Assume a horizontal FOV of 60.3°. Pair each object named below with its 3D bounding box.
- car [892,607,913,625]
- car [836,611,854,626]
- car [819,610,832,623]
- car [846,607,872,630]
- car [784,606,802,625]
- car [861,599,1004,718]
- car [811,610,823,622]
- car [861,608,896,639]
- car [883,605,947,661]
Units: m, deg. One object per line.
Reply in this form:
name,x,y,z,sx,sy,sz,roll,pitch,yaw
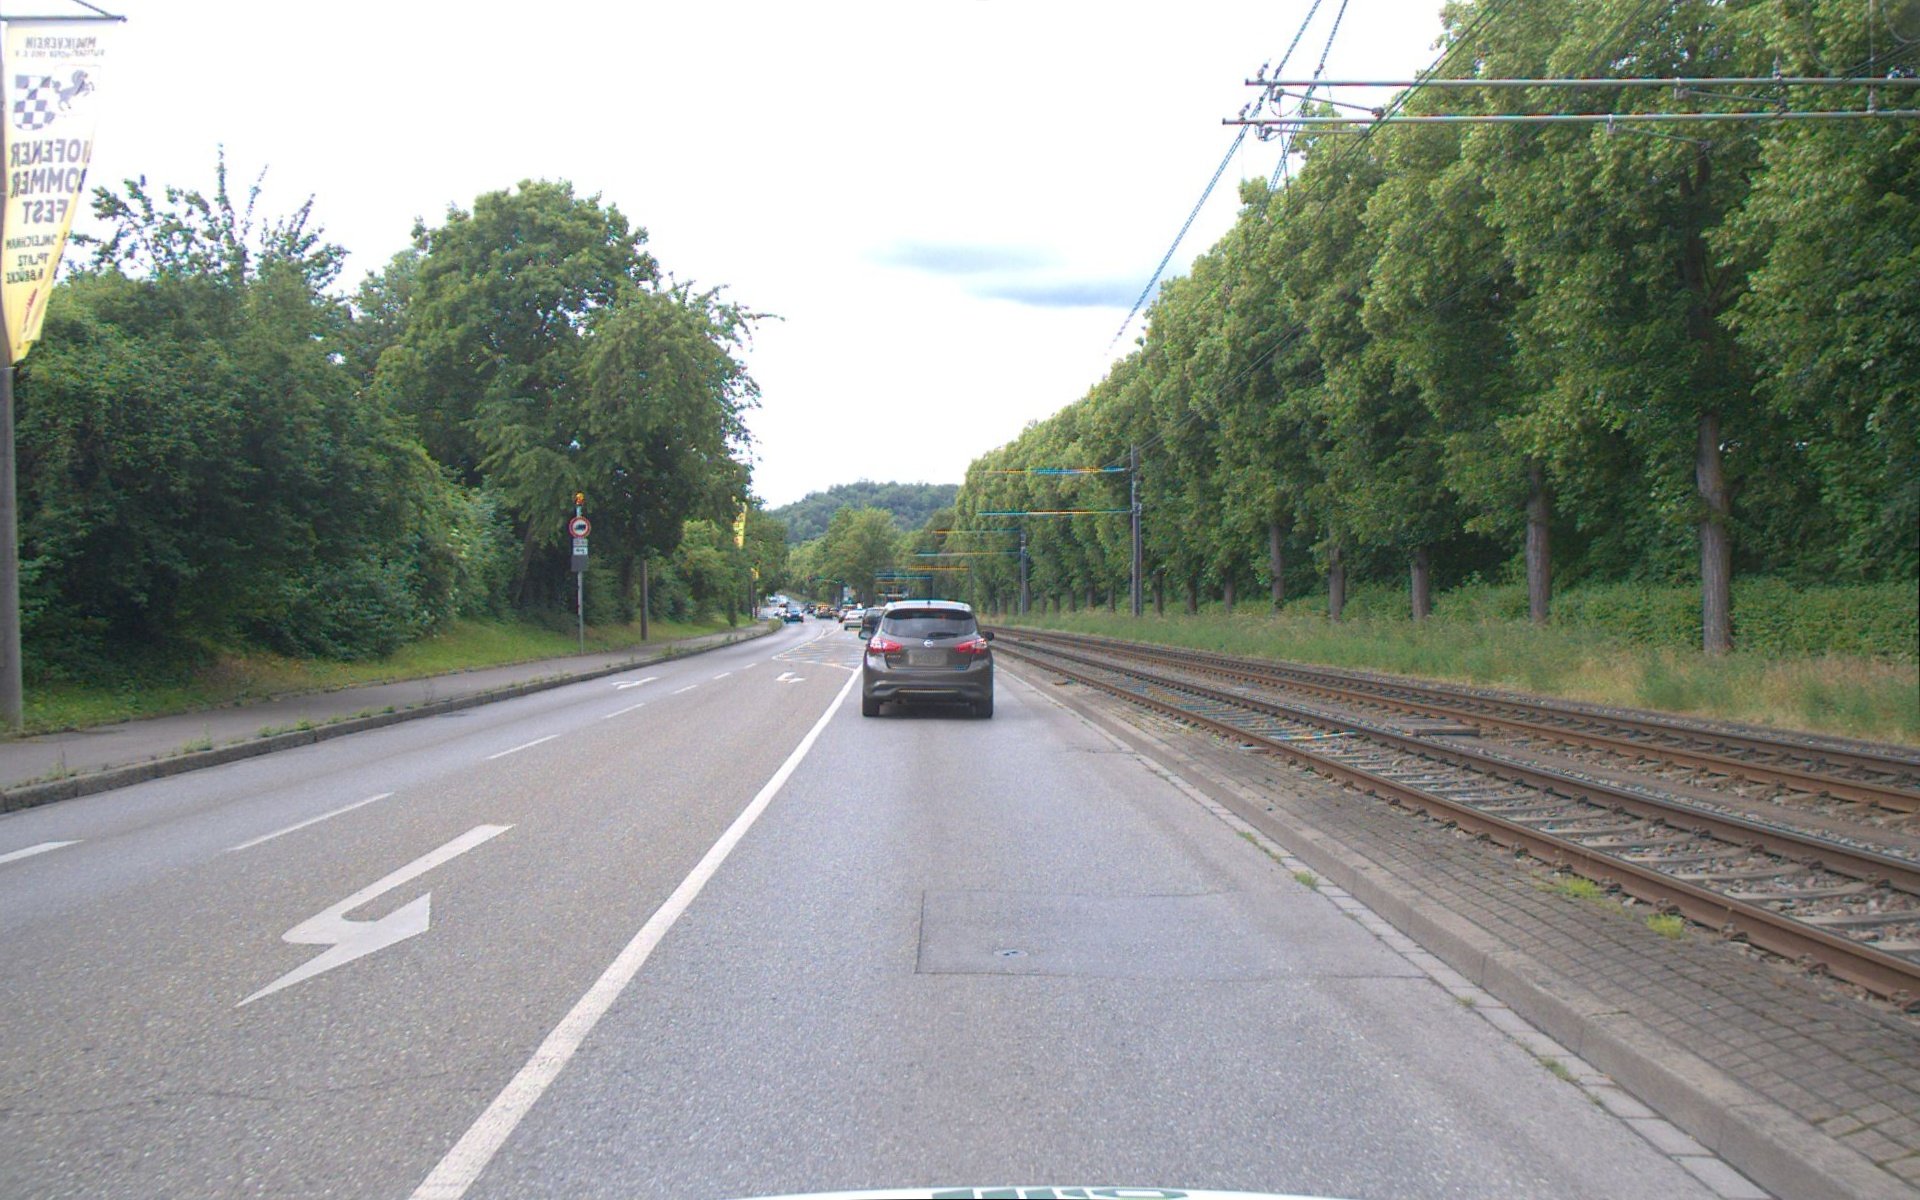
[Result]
car,-4.758,1.303,136.324,1.665,1.469,3.998,0,-1,-2
car,-12.168,1.947,174.502,1.758,1.537,3.998,0,-1,-2
car,-19.010,2.329,234.577,1.665,1.744,3.998,0,-1,-2
car,-6.858,1.250,112.292,1.665,1.469,3.998,0,-1,-2
car,-19.364,1.785,191.901,1.954,2.072,5.111,-1,-1,-5
car,-0.386,0.746,23.013,1.813,1.519,3.999,0,0,-1
car,-21.291,2.390,246.044,1.665,1.744,3.998,0,-1,-2
car,-3.912,1.123,79.608,1.666,1.469,3.998,0,-1,-3
car,-1.297,0.905,46.285,1.666,1.469,3.997,0,-1,-3
